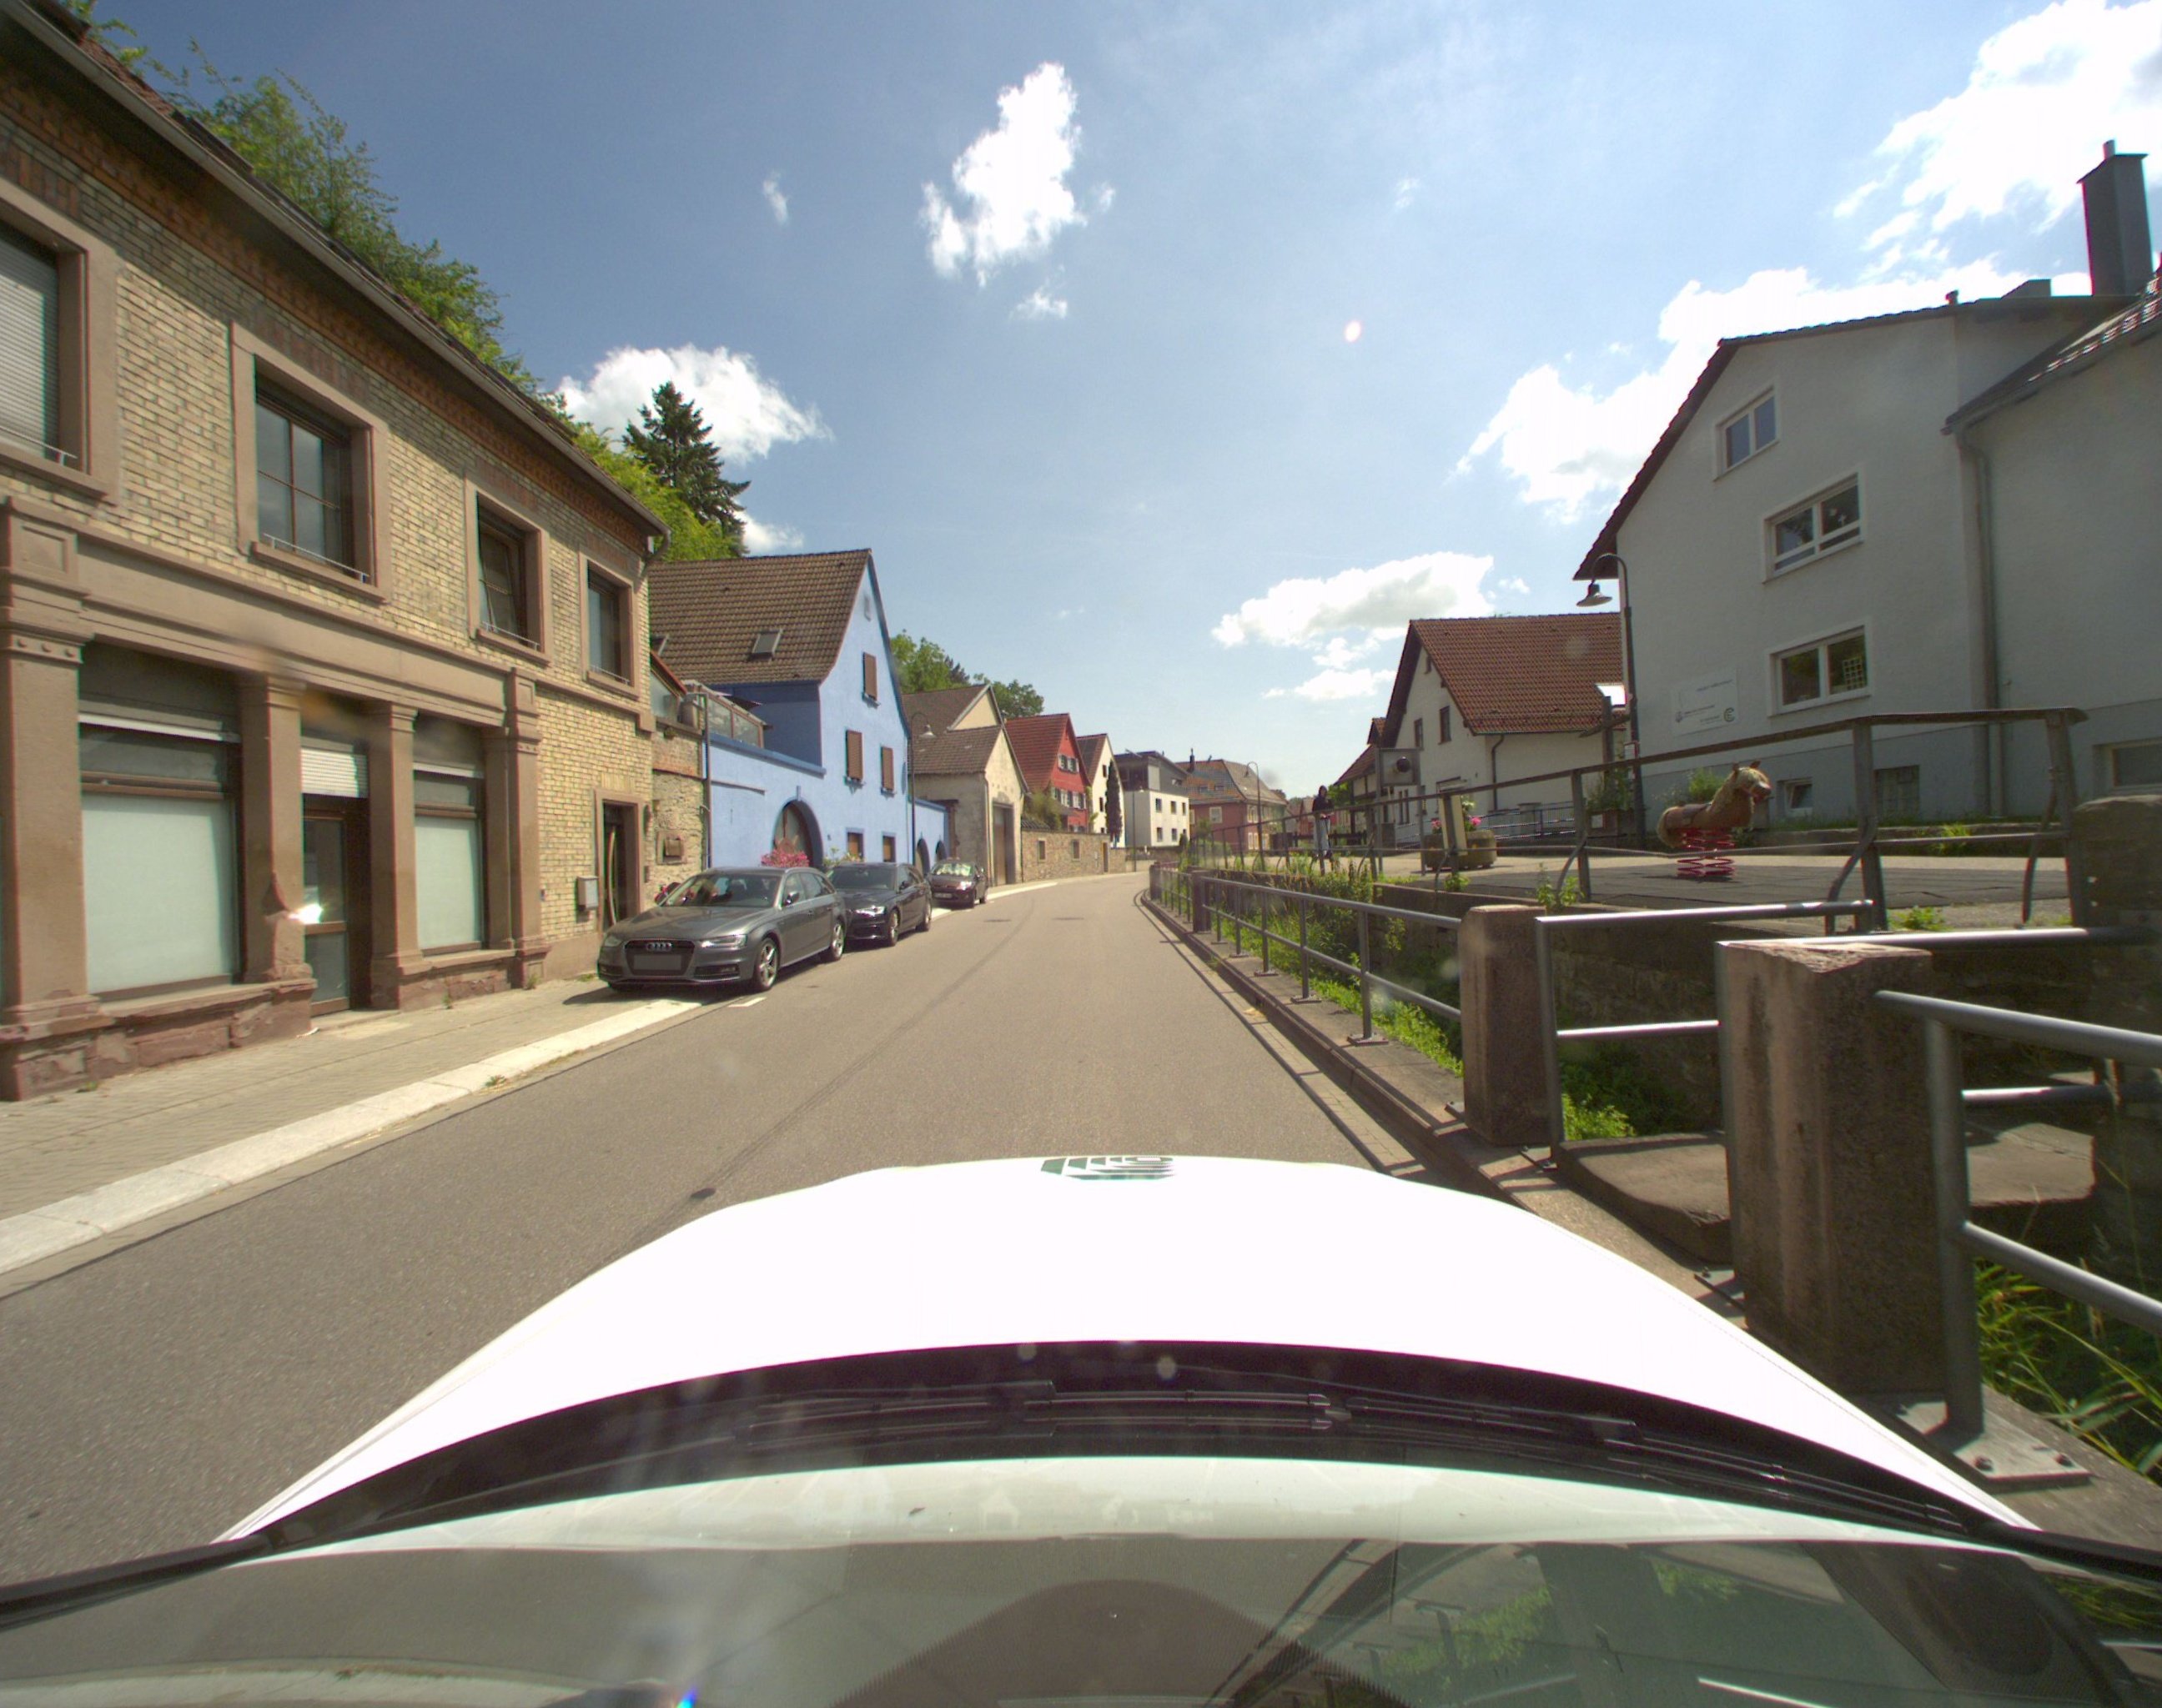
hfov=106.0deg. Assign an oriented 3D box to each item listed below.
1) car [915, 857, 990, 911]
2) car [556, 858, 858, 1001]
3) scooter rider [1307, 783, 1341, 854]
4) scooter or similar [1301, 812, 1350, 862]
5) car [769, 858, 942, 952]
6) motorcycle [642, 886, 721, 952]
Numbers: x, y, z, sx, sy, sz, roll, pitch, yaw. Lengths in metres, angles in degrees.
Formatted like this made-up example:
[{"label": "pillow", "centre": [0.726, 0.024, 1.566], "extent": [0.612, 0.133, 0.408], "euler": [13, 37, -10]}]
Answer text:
[{"label": "car", "centre": [-4.007, 0.903, 26.025], "extent": [1.711, 1.530, 3.856], "euler": [2, 0, 0]}, {"label": "car", "centre": [-4.591, 0.846, 10.920], "extent": [1.950, 1.466, 4.544], "euler": [-1, -1, 0]}, {"label": "scooter rider", "centre": [6.017, -0.871, 20.184], "extent": [0.639, 1.732, 0.554], "euler": [-1, -1, 1]}, {"label": "scooter or similar", "centre": [6.015, -0.404, 20.115], "extent": [0.639, 1.142, 1.812], "euler": [-3, -1, 1]}, {"label": "car", "centre": [-4.122, 0.854, 15.791], "extent": [1.878, 1.464, 4.671], "euler": [1, 0, 2]}, {"label": "motorcycle", "centre": [-6.887, 1.085, 14.120], "extent": [0.416, 1.001, 1.857], "euler": [3, -1, -1]}]
